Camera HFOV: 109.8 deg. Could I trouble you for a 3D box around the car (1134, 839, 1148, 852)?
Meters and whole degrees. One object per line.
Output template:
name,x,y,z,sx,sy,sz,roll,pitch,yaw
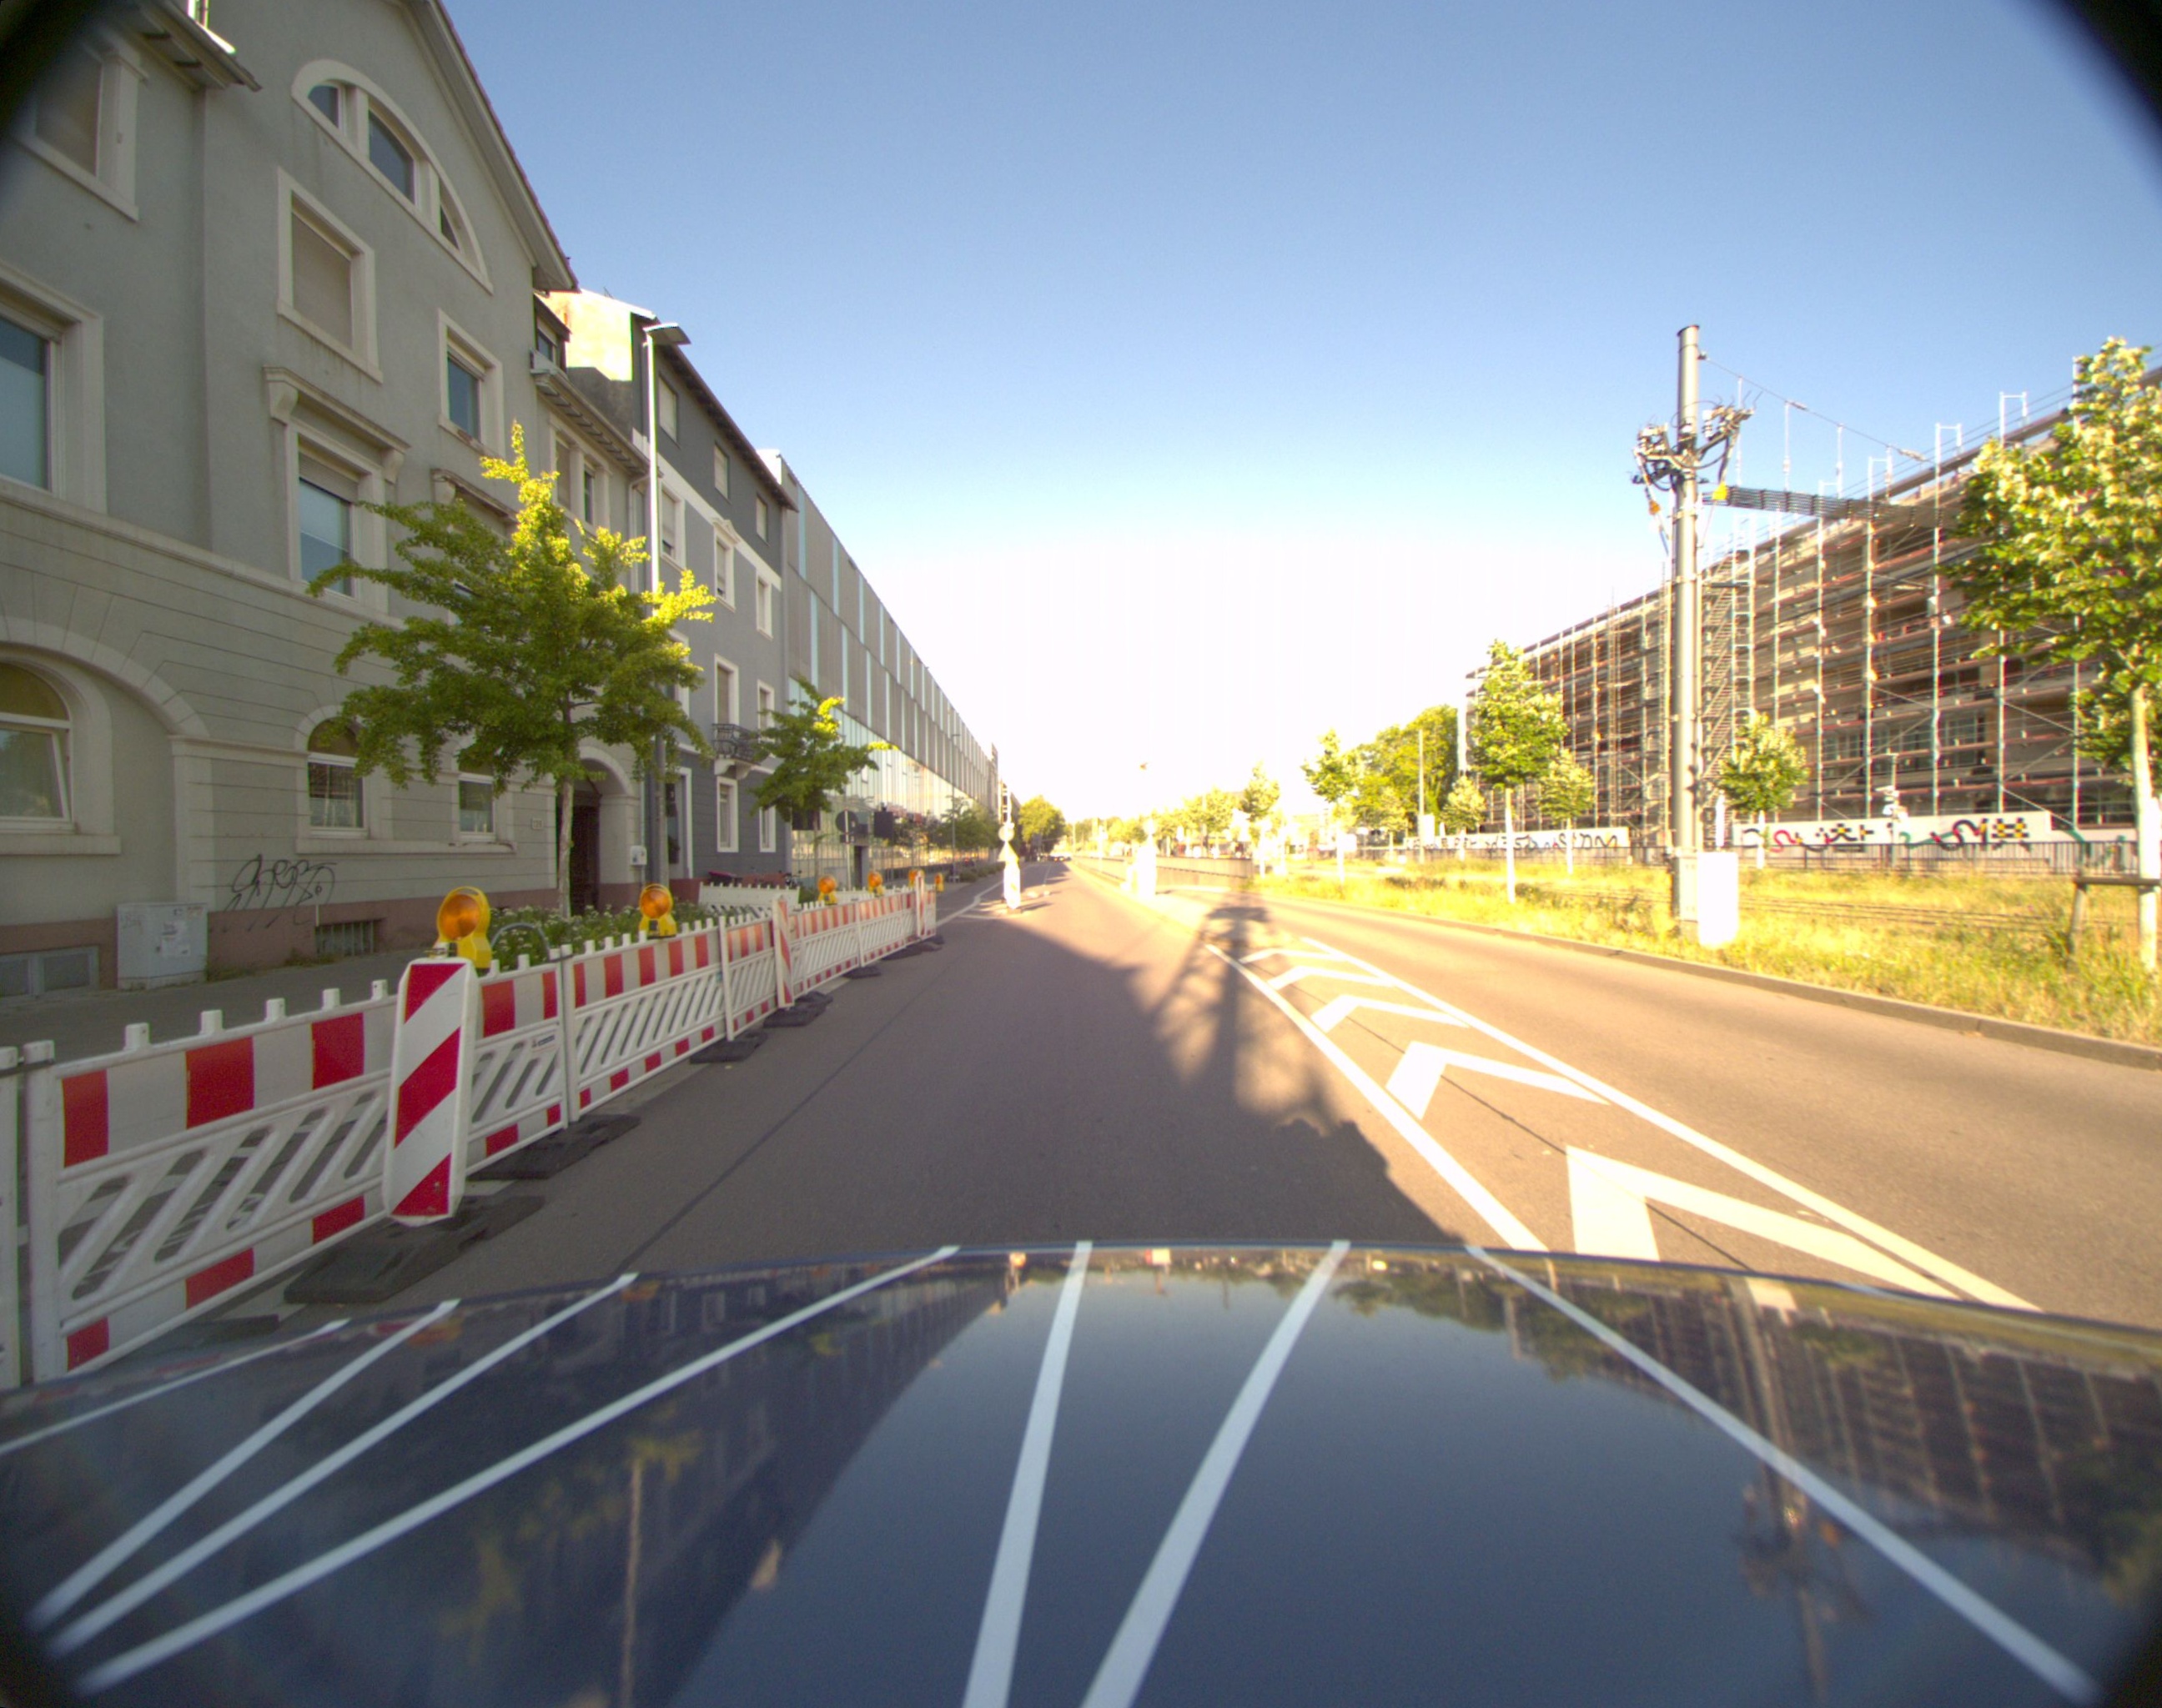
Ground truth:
car,9.736,-1.427,123.024,1.998,2.002,3.999,-2,1,1

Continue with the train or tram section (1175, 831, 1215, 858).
train or tram section,15.998,-1.334,107.908,2.954,3.378,14.761,-2,1,-2

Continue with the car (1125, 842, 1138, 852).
car,8.883,-1.239,134.677,1.998,1.740,3.999,-2,1,1

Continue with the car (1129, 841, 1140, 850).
car,10.760,-1.670,153.256,1.998,1.740,3.999,-2,1,1

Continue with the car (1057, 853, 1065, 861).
car,-4.909,0.802,187.280,1.941,2.002,3.825,-1,0,-3

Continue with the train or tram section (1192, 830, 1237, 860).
train or tram section,16.363,-1.088,94.265,2.954,3.378,12.630,-2,1,-2
